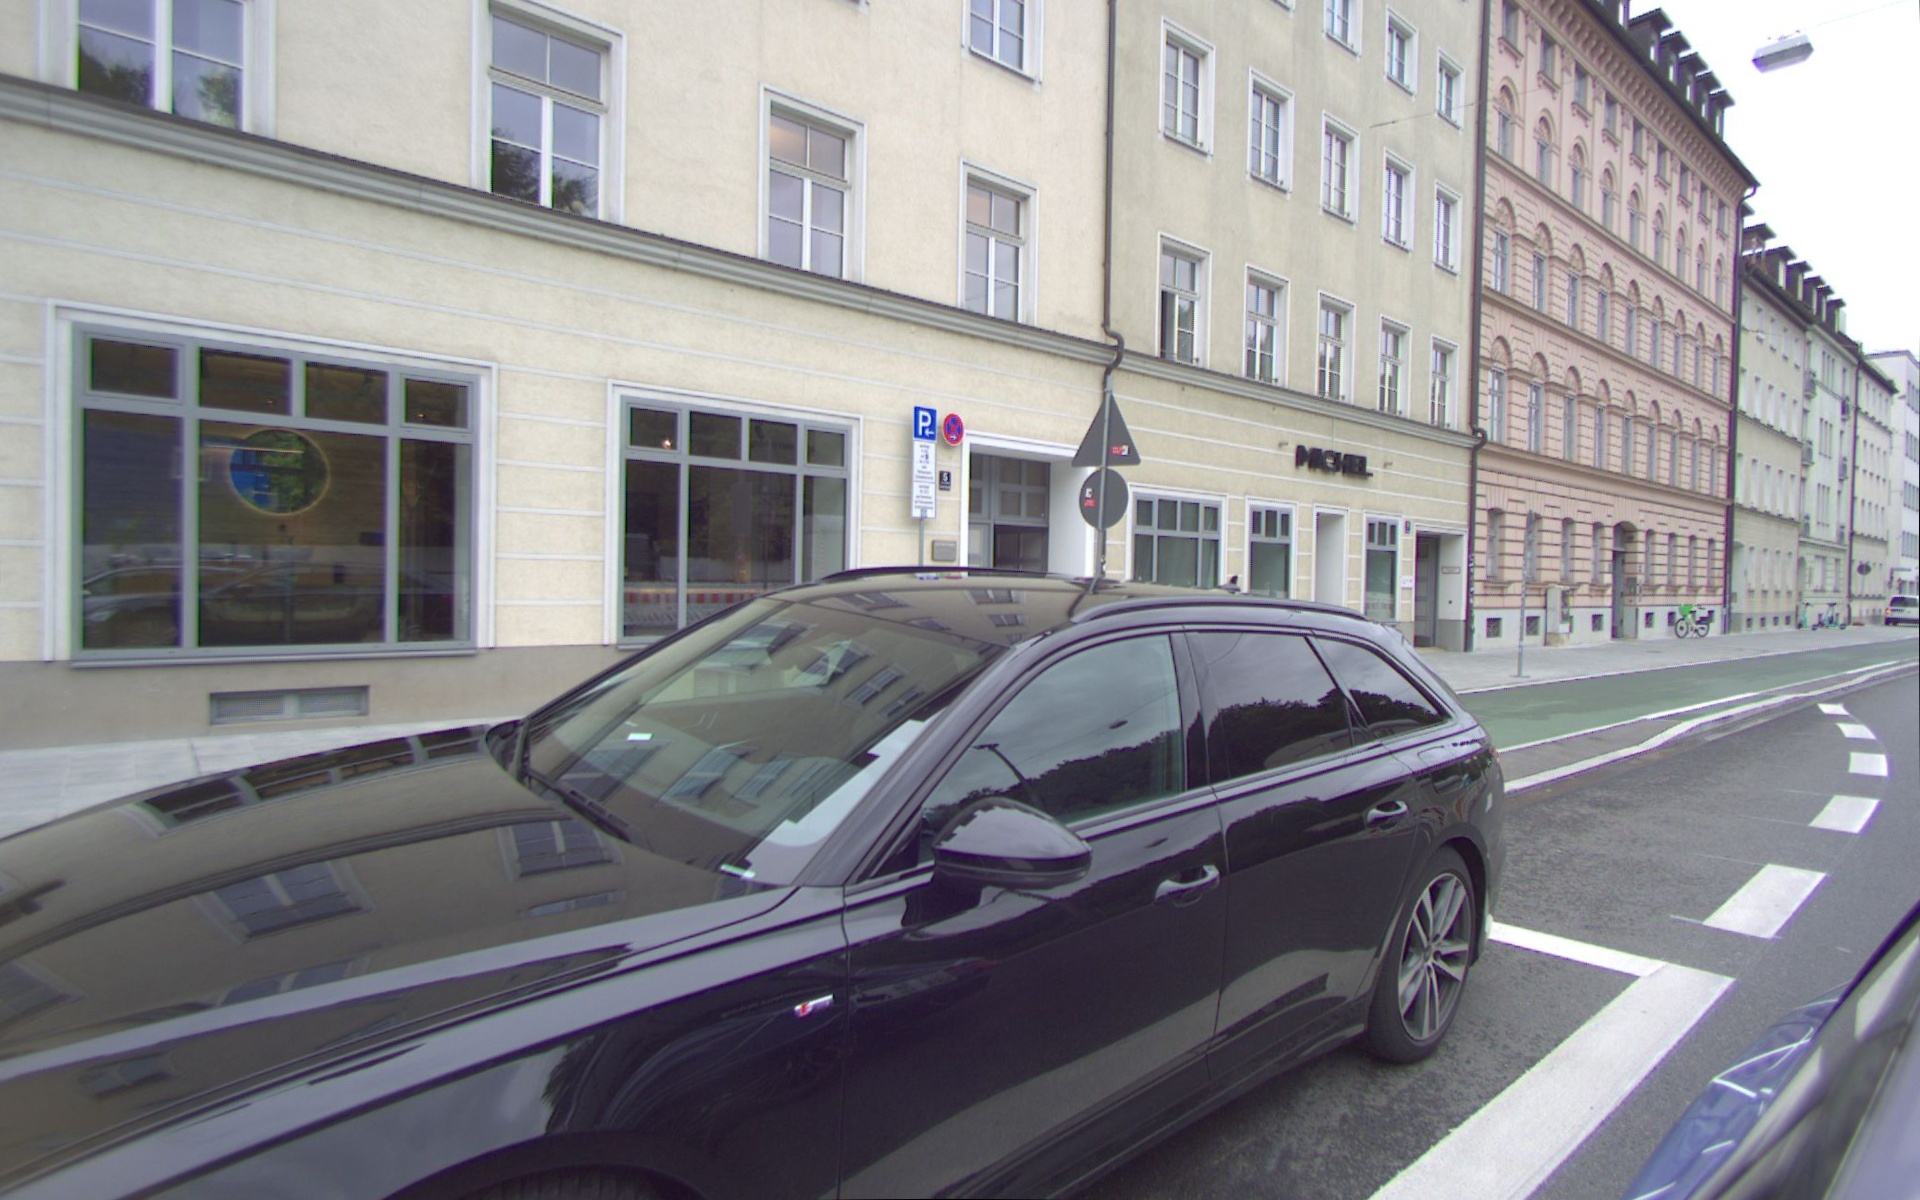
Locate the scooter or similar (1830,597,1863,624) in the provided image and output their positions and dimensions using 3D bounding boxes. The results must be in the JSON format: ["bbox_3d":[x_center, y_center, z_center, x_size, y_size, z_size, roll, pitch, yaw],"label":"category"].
[{"bbox_3d":[42.616,0.498,48.666,1.105,1.246,0.246,3,2,18],"label":"scooter or similar"}]

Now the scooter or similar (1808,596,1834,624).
[{"bbox_3d":[38.836,0.465,45.665,1.096,1.246,0.248,1,2,-14],"label":"scooter or similar"}]

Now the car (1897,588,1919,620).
[{"bbox_3d":[56.532,0.250,59.330,4.356,1.771,1.737,1,2,-40],"label":"car"}]

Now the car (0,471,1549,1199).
[{"bbox_3d":[-0.241,0.603,2.660,4.607,1.498,1.804,0,2,-43],"label":"car"}]

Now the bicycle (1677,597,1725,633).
[{"bbox_3d":[24.857,0.499,33.942,1.695,1.188,0.428,1,1,-23],"label":"bicycle"}]
